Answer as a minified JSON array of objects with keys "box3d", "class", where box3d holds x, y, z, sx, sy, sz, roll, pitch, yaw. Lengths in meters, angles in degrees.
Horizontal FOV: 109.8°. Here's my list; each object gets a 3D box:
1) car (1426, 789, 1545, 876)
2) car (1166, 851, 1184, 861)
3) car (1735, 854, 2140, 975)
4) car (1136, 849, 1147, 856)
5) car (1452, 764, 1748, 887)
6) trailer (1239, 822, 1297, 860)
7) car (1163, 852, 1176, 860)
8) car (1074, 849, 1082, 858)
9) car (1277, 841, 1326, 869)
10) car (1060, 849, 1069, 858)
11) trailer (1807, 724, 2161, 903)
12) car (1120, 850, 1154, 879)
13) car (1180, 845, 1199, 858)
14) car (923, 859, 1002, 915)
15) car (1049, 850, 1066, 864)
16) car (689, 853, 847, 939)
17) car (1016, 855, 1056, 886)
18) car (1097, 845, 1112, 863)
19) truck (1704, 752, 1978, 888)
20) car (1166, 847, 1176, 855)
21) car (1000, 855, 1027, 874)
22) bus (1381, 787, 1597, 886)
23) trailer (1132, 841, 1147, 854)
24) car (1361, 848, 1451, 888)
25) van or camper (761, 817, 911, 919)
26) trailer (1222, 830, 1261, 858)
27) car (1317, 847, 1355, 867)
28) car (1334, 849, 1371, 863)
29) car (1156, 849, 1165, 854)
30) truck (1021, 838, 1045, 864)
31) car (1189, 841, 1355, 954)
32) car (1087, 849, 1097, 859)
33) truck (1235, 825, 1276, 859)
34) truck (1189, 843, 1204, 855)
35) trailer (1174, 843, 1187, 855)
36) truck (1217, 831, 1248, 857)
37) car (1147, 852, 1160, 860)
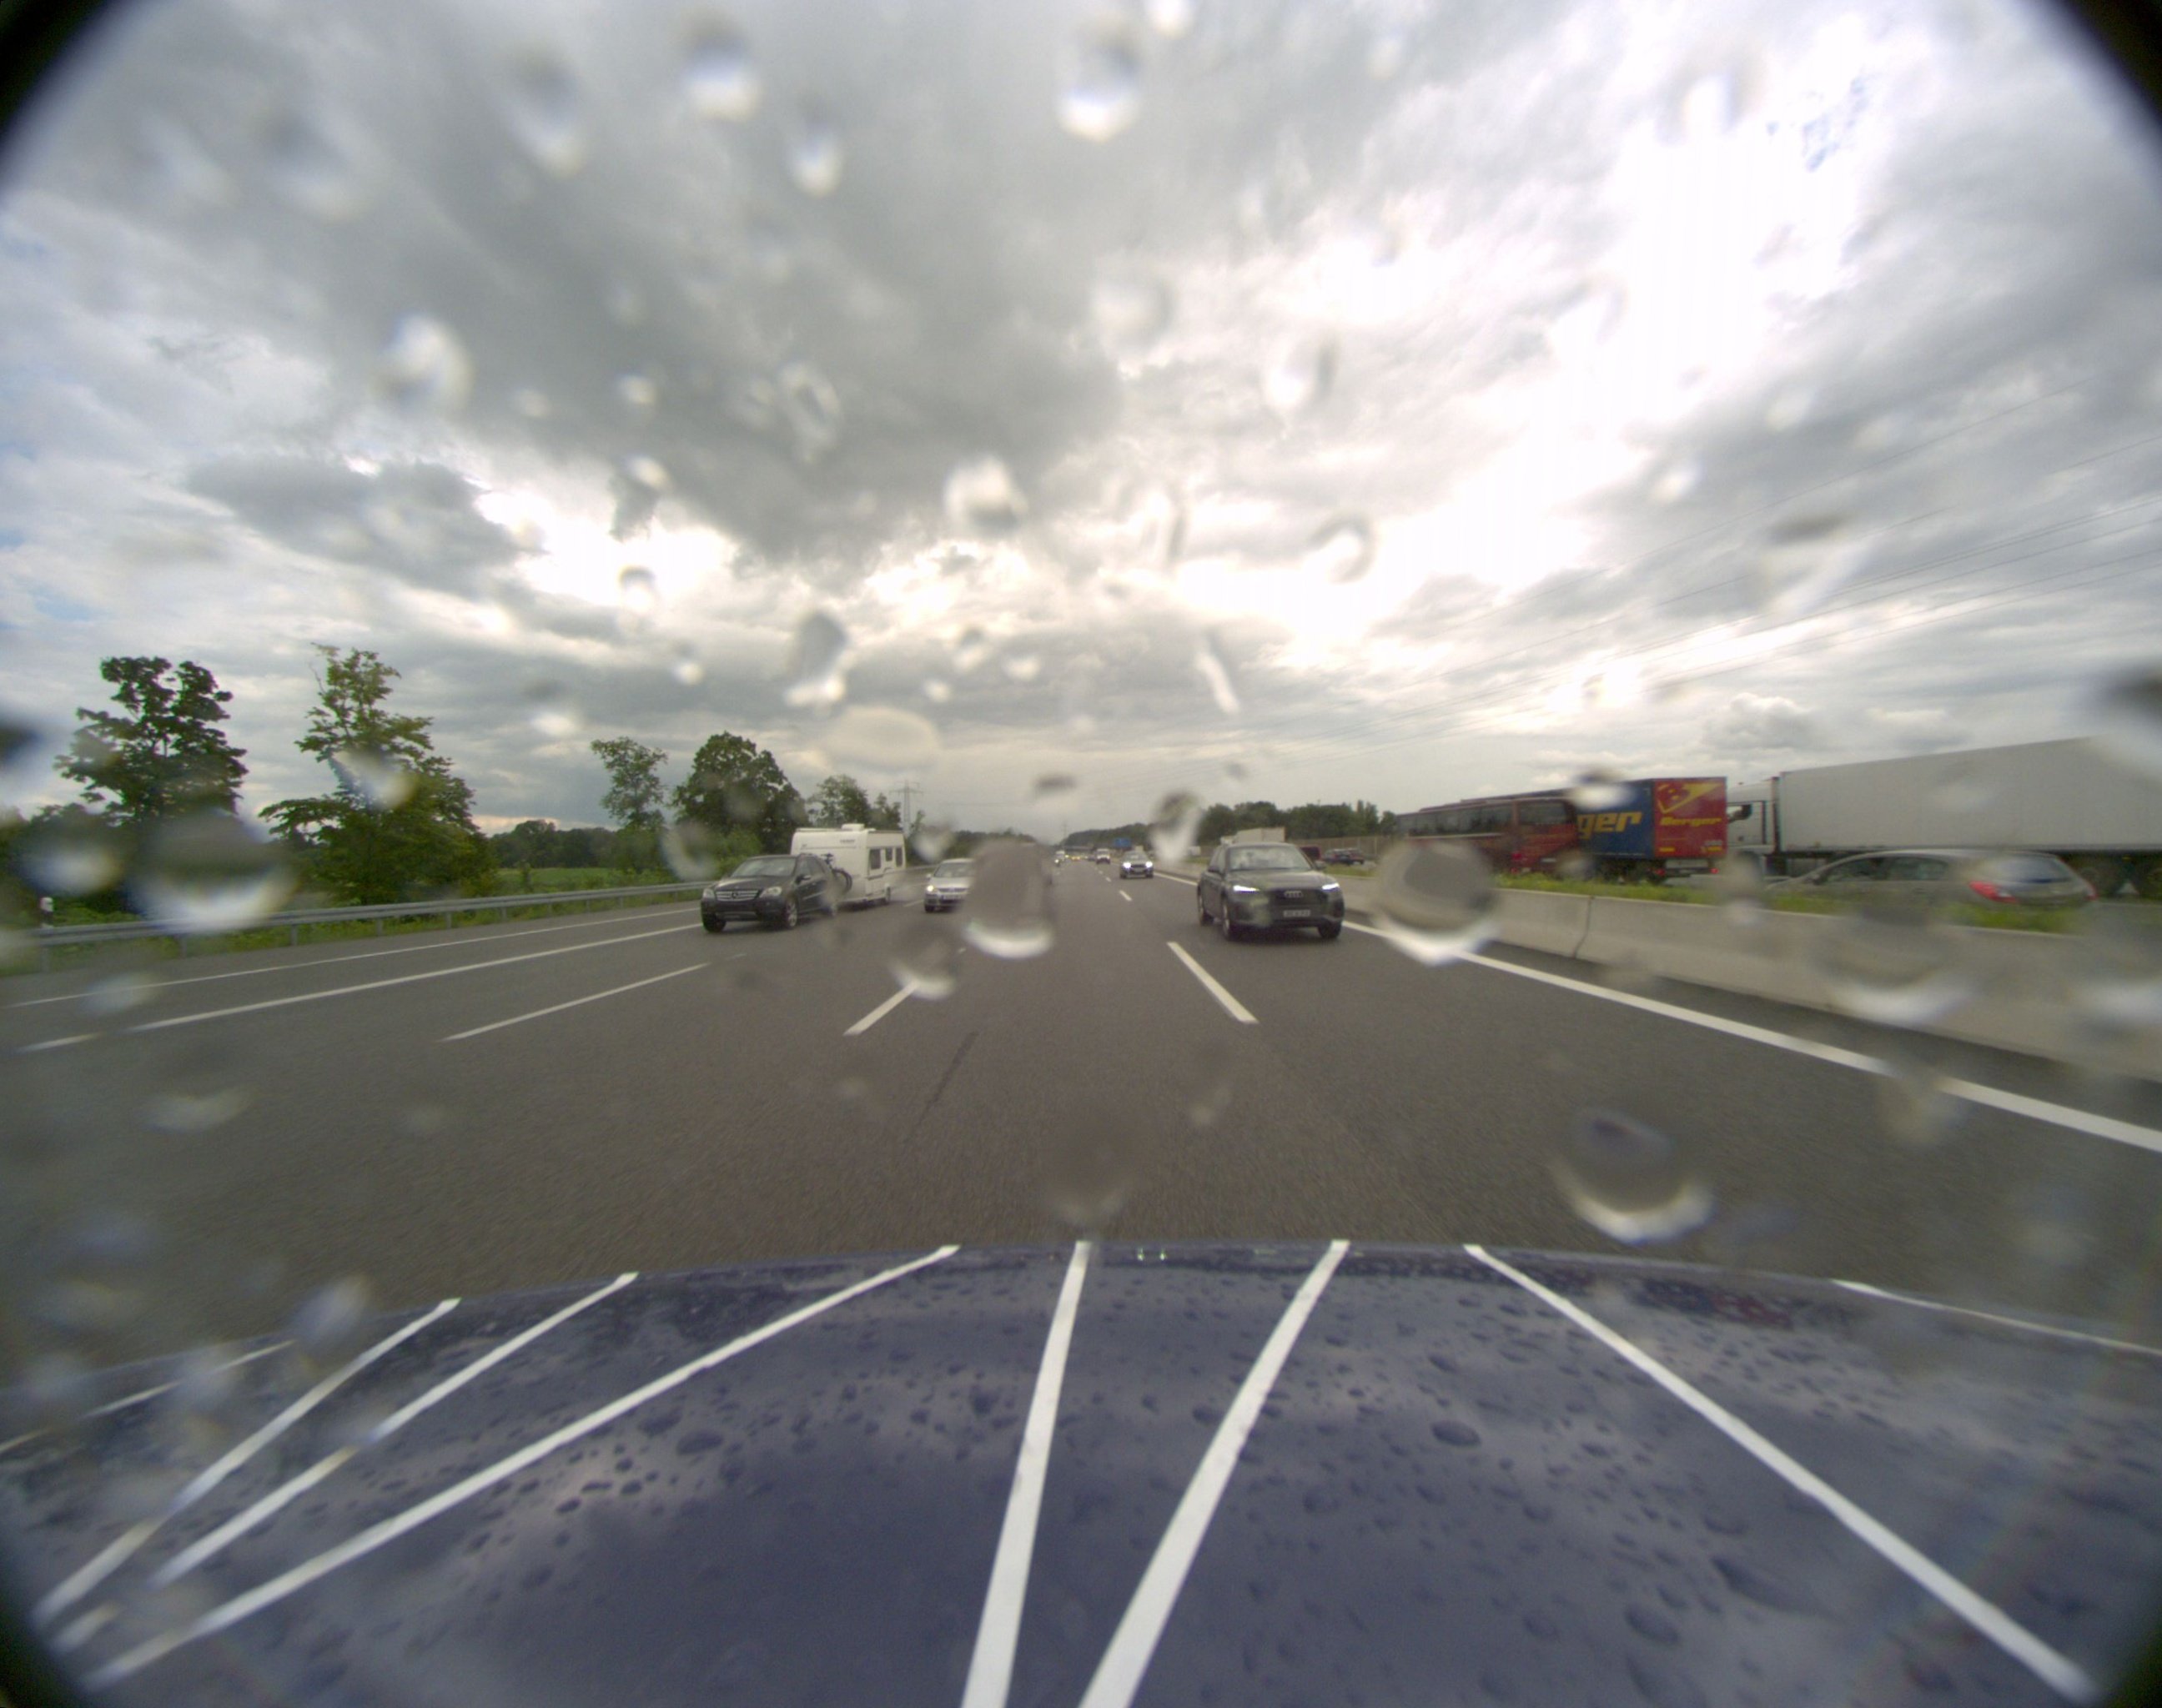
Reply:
[{"box3d":[21.274,-1.073,40.413,2.990,4.126,6.041,-2,1,0],"class":"car"},{"box3d":[13.664,0.262,110.676,1.792,1.446,4.564,-2,0,-1],"class":"car"},{"box3d":[13.209,0.806,12.210,1.721,1.514,4.212,-2,0,0],"class":"car"},{"box3d":[13.862,-0.312,173.375,1.999,1.517,4.740,-2,0,-2],"class":"car"},{"box3d":[21.298,-1.011,33.228,2.990,4.100,14.393,-2,0,0],"class":"car"},{"box3d":[22.190,-1.468,91.288,3.669,4.084,13.398,-2,0,1],"class":"trailer"},{"box3d":[17.845,0.345,153.370,1.792,1.446,4.564,-2,0,-1],"class":"car"},{"box3d":[-0.704,-0.074,178.585,1.999,2.002,3.999,-2,0,0],"class":"car"},{"box3d":[13.953,0.049,48.360,1.792,1.656,4.295,-2,0,0],"class":"car"},{"box3d":[-3.894,-0.199,178.980,1.999,2.002,3.999,-2,0,0],"class":"car"},{"box3d":[26.187,-0.996,19.460,2.907,4.092,12.697,-2,0,0],"class":"trailer"},{"box3d":[3.370,0.572,46.402,1.840,1.615,4.915,-2,0,2],"class":"car"},{"box3d":[18.248,-0.415,127.999,2.286,1.956,6.086,-2,0,2],"class":"car"},{"box3d":[-3.447,0.915,22.735,1.683,1.437,3.999,-2,0,0],"class":"car"},{"box3d":[-2.990,0.413,97.197,1.999,1.701,3.999,-2,0,-1],"class":"car"},{"box3d":[-7.432,0.893,18.603,1.925,1.766,4.502,-2,0,0],"class":"car"},{"box3d":[-2.242,0.810,38.670,1.717,1.437,3.999,-2,0,0],"class":"car"},{"box3d":[3.470,-0.038,114.513,1.999,2.524,4.808,-2,0,0],"class":"car"},{"box3d":[26.163,-1.066,26.742,2.907,4.092,6.621,-2,1,0],"class":"truck"},{"box3d":[24.160,-0.875,204.391,1.770,1.956,4.942,-2,0,-1],"class":"car"},{"box3d":[-5.487,0.820,62.487,1.841,1.437,3.999,-2,0,0],"class":"car"},{"box3d":[17.761,-0.697,34.761,2.897,3.590,12.757,-2,0,0],"class":"bus"},{"box3d":[19.878,-2.213,259.264,3.328,4.038,13.284,-2,0,-2],"class":"trailer"},{"box3d":[13.701,0.540,32.336,1.792,1.524,4.564,-2,0,0],"class":"car"},{"box3d":[-7.538,0.371,24.506,2.390,2.723,7.208,-2,0,0],"class":"van or camper"},{"box3d":[26.563,-1.607,126.384,3.670,4.212,12.465,-2,0,0],"class":"trailer"},{"box3d":[22.064,0.223,65.960,1.792,1.582,4.385,-2,0,0],"class":"car"},{"box3d":[25.643,0.195,71.982,1.792,1.236,4.564,-2,0,0],"class":"car"},{"box3d":[21.088,-0.668,202.174,1.770,1.446,4.942,-2,0,-1],"class":"car"},{"box3d":[-7.170,-0.465,113.989,2.870,3.633,9.593,-2,0,0],"class":"truck"},{"box3d":[3.299,0.658,14.248,1.913,1.681,5.168,-2,0,2],"class":"car"},{"box3d":[2.355,-0.097,162.635,1.999,2.002,3.999,-2,0,0],"class":"car"},{"box3d":[22.276,-1.506,97.197,3.669,4.024,6.524,-2,1,1],"class":"truck"},{"box3d":[25.284,-1.054,166.225,2.108,2.437,6.263,-2,0,-1],"class":"truck"},{"box3d":[24.052,-1.192,184.253,2.253,2.945,4.900,-2,0,-1],"class":"trailer"},{"box3d":[26.565,-1.716,134.010,3.670,4.294,8.236,-2,0,0],"class":"truck"},{"box3d":[13.742,0.379,144.188,1.792,1.446,4.564,-2,0,-1],"class":"car"}]
